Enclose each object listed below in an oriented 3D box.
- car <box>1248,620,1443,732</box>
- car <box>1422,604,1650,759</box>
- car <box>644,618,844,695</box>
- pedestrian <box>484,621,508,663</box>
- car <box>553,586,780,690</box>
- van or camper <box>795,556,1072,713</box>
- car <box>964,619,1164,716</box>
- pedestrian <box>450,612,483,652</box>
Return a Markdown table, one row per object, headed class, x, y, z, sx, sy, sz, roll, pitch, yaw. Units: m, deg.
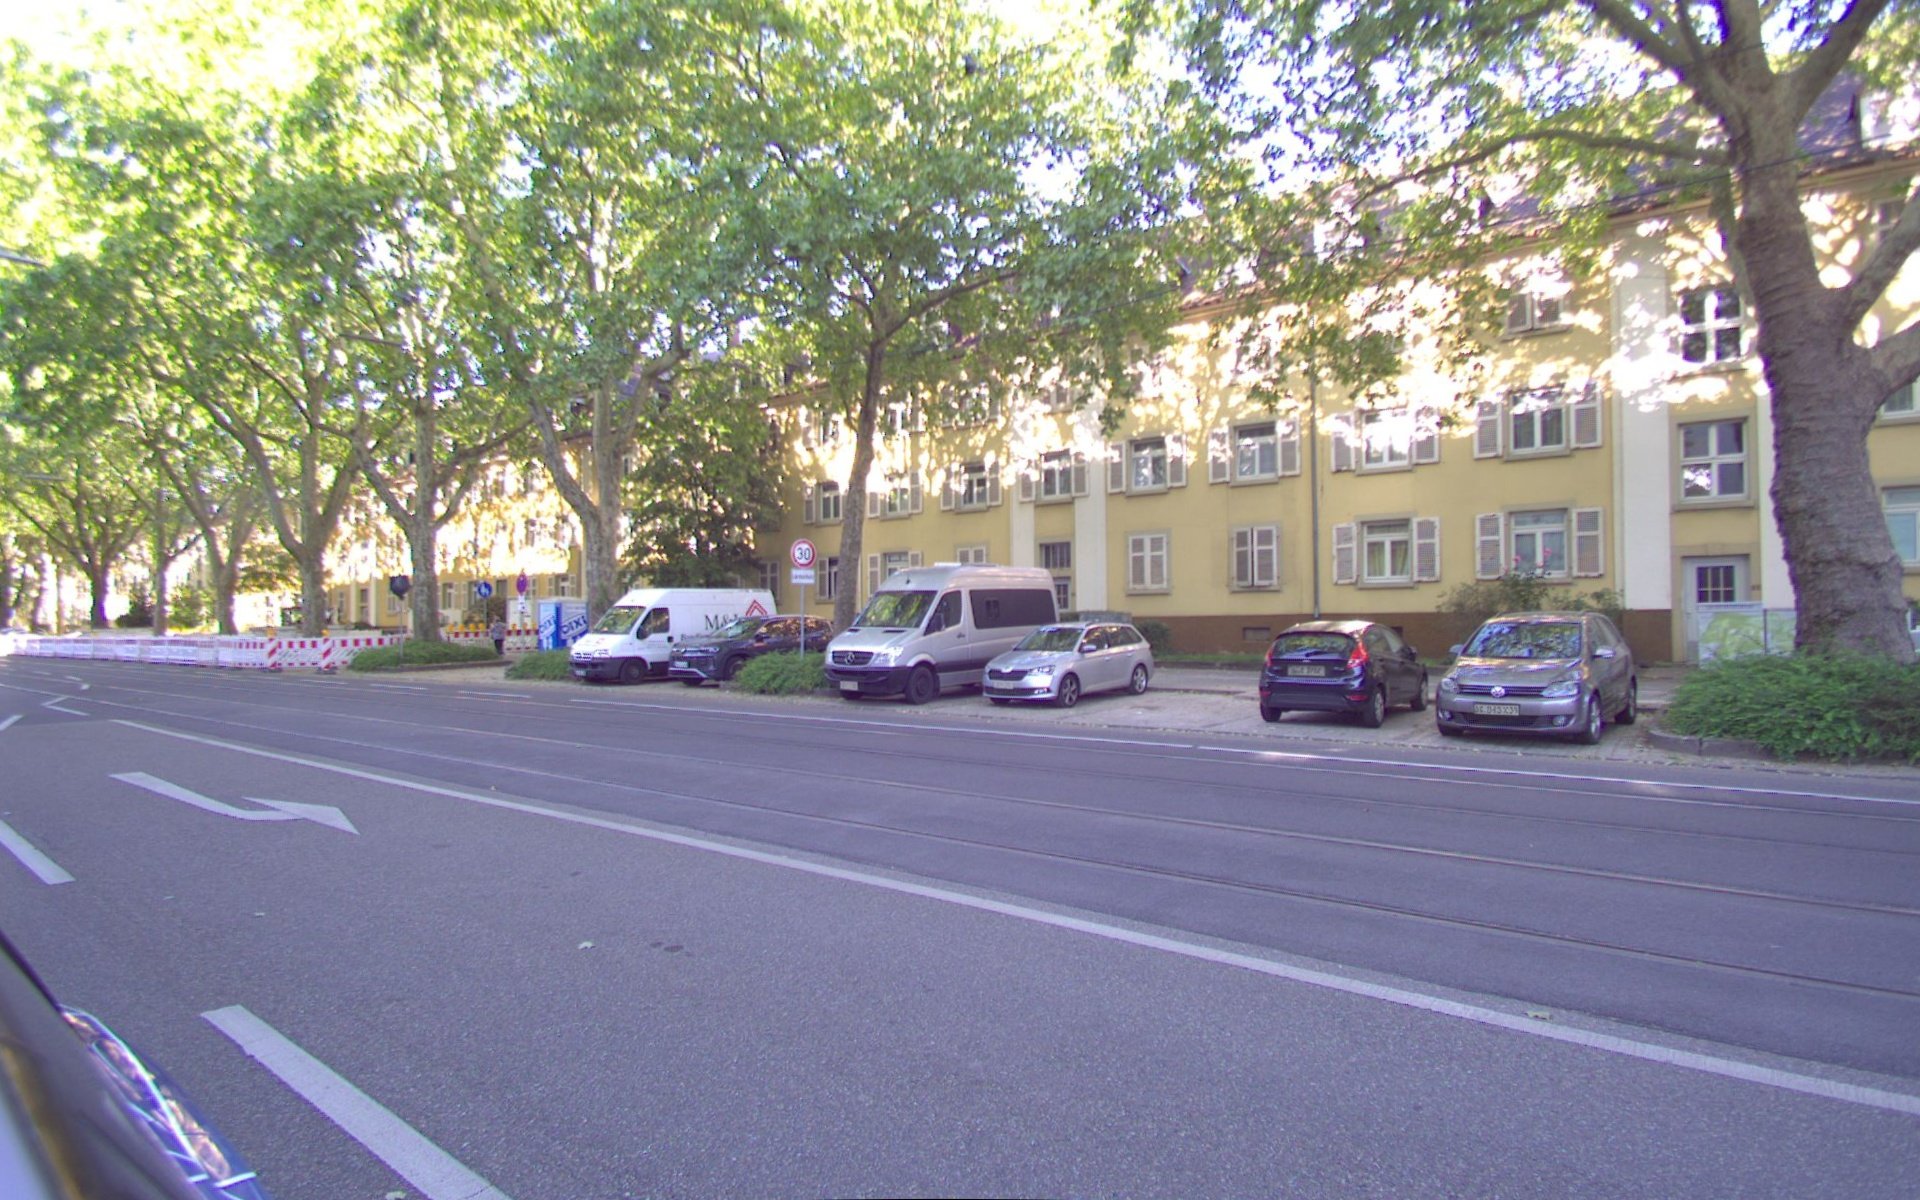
| class | x | y | z | sx | sy | sz | roll | pitch | yaw |
| --- | --- | --- | --- | --- | --- | --- | --- | --- | --- |
| car | 5.912 | 1.048 | 15.326 | 1.740 | 1.440 | 3.528 | -2 | -1 | 39 |
| car | 7.743 | 0.927 | 13.413 | 1.814 | 1.617 | 4.145 | -2 | 0 | 41 |
| car | -5.085 | 1.275 | 24.365 | 1.967 | 1.643 | 4.520 | -2 | -2 | 38 |
| pedestrian | -17.548 | 1.586 | 38.258 | 0.716 | 1.585 | 0.589 | -2 | -2 | 39 |
| car | -7.439 | 0.948 | 26.284 | 2.023 | 2.394 | 5.543 | -2 | -2 | 38 |
| van or camper | -0.310 | 0.613 | 20.488 | 2.227 | 2.697 | 6.052 | -2 | -1 | 38 |
| car | 2.042 | 1.158 | 18.904 | 1.729 | 1.481 | 4.102 | 0 | 1 | 40 |
| pedestrian | -25.601 | 1.669 | 52.504 | 1.233 | 2.029 | 1.085 | -2 | -2 | 36 |
